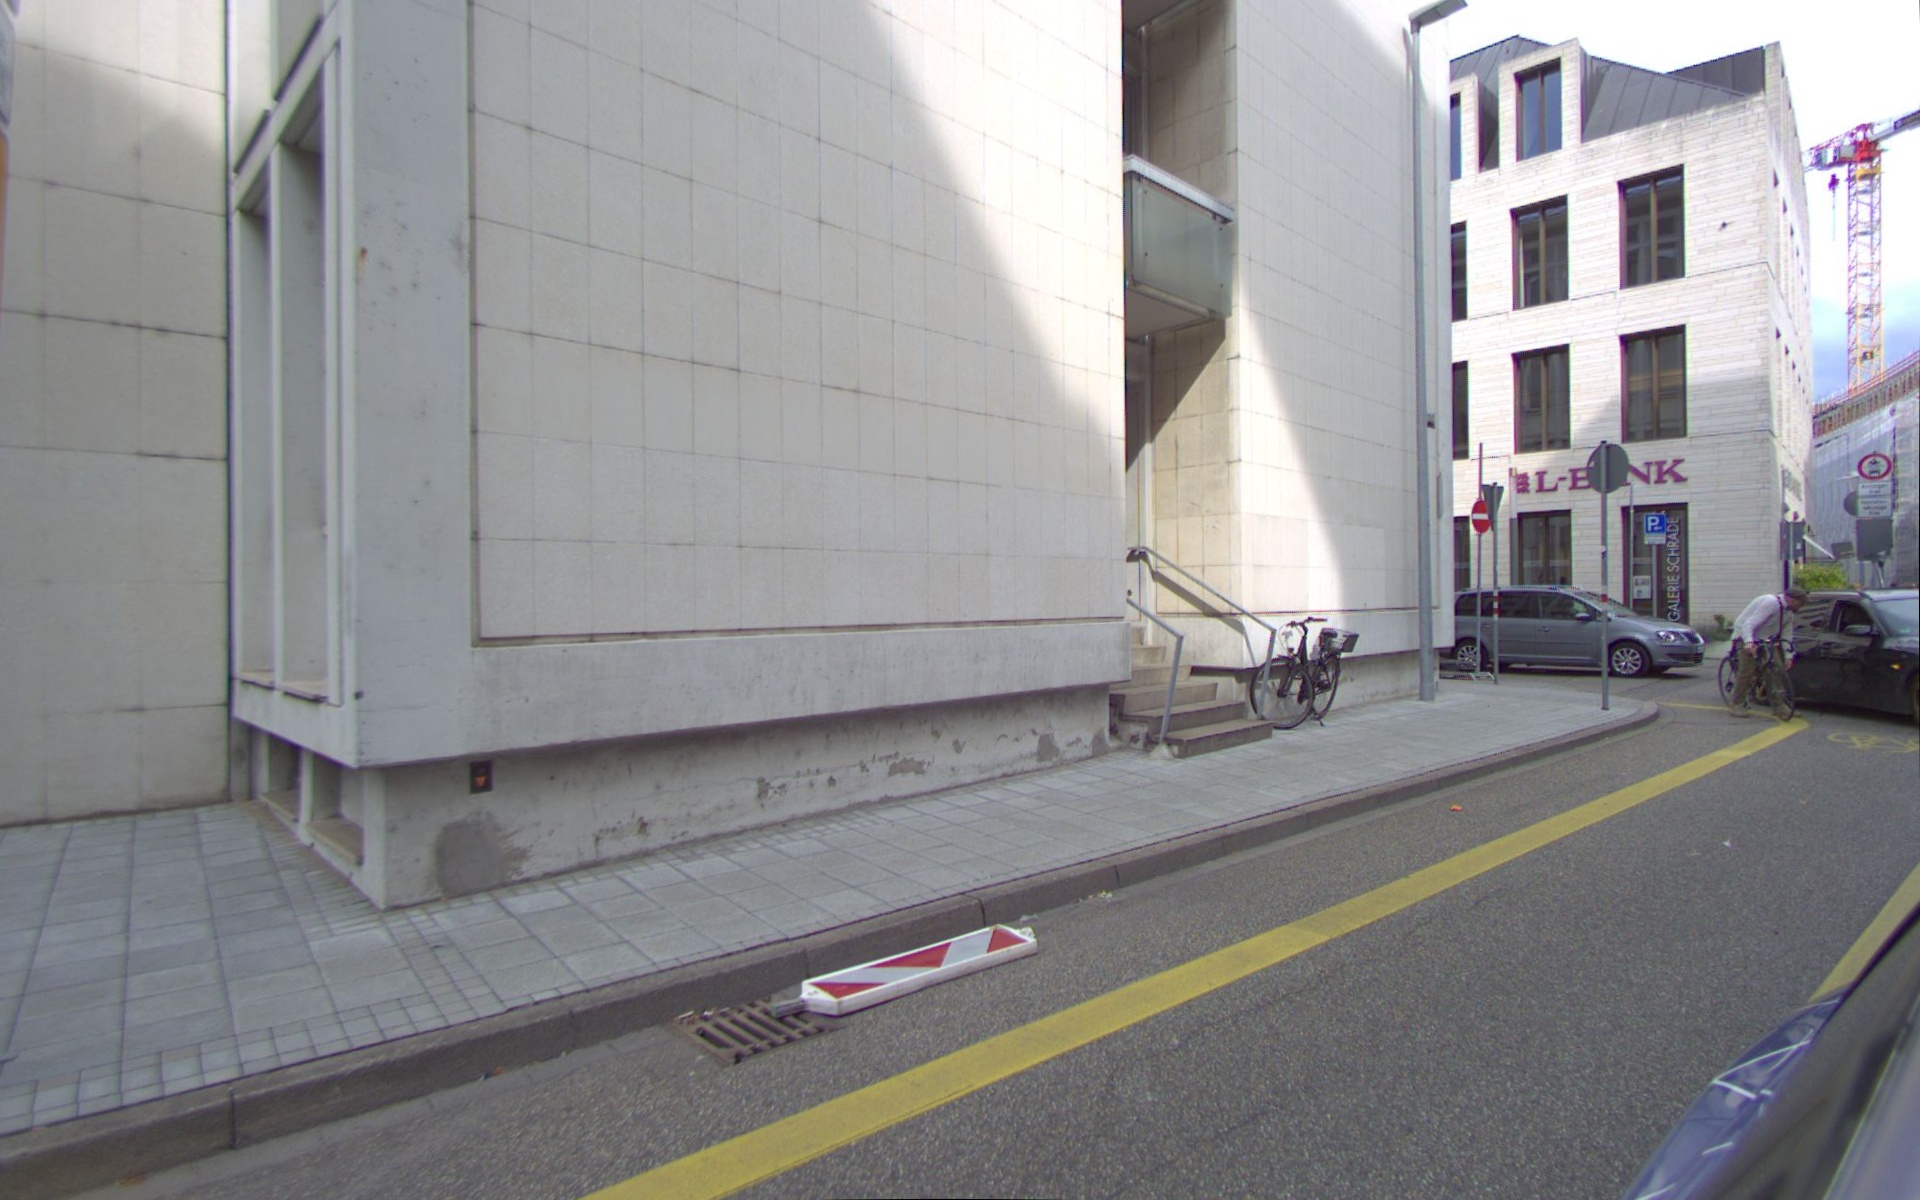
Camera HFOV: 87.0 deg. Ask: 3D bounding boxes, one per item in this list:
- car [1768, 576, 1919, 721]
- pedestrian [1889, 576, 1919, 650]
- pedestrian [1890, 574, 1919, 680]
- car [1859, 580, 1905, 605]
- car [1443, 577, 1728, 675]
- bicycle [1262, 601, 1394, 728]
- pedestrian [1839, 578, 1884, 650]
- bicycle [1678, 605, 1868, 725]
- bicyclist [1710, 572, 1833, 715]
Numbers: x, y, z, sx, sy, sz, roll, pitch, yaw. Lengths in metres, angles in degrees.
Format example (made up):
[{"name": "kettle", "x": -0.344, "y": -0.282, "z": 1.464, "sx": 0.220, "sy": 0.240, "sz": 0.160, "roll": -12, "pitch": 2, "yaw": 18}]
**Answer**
[{"name": "car", "x": 10.950, "y": 0.486, "z": 11.065, "sx": 1.690, "sy": 1.509, "sz": 3.753, "roll": -1, "pitch": 0, "yaw": 11}, {"name": "pedestrian", "x": 24.099, "y": 0.312, "z": 25.482, "sx": 0.759, "sy": 1.854, "sz": 0.862, "roll": -1, "pitch": 0, "yaw": -33}, {"name": "pedestrian", "x": 17.152, "y": 0.460, "z": 17.954, "sx": 0.767, "sy": 1.854, "sz": 0.853, "roll": 0, "pitch": 0, "yaw": 30}, {"name": "car", "x": 58.642, "y": -0.478, "z": 64.404, "sx": 1.579, "sy": 1.504, "sz": 3.951, "roll": 0, "pitch": 1, "yaw": 34}, {"name": "car", "x": 11.510, "y": 0.404, "z": 18.846, "sx": 1.784, "sy": 1.610, "sz": 4.188, "roll": -1, "pitch": 1, "yaw": -42}, {"name": "bicycle", "x": 3.863, "y": 0.614, "z": 10.546, "sx": 0.589, "sy": 1.182, "sz": 1.786, "roll": 0, "pitch": 1, "yaw": 45}, {"name": "pedestrian", "x": 23.725, "y": 0.360, "z": 26.629, "sx": 0.859, "sy": 1.854, "sz": 0.762, "roll": 0, "pitch": 0, "yaw": 43}, {"name": "bicycle", "x": 9.668, "y": 0.696, "z": 12.209, "sx": 0.860, "sy": 1.209, "sz": 2.846, "roll": -1, "pitch": 1, "yaw": 19}, {"name": "bicyclist", "x": 9.591, "y": 0.486, "z": 12.001, "sx": 0.881, "sy": 1.614, "sz": 0.872, "roll": -1, "pitch": 0, "yaw": 19}]
